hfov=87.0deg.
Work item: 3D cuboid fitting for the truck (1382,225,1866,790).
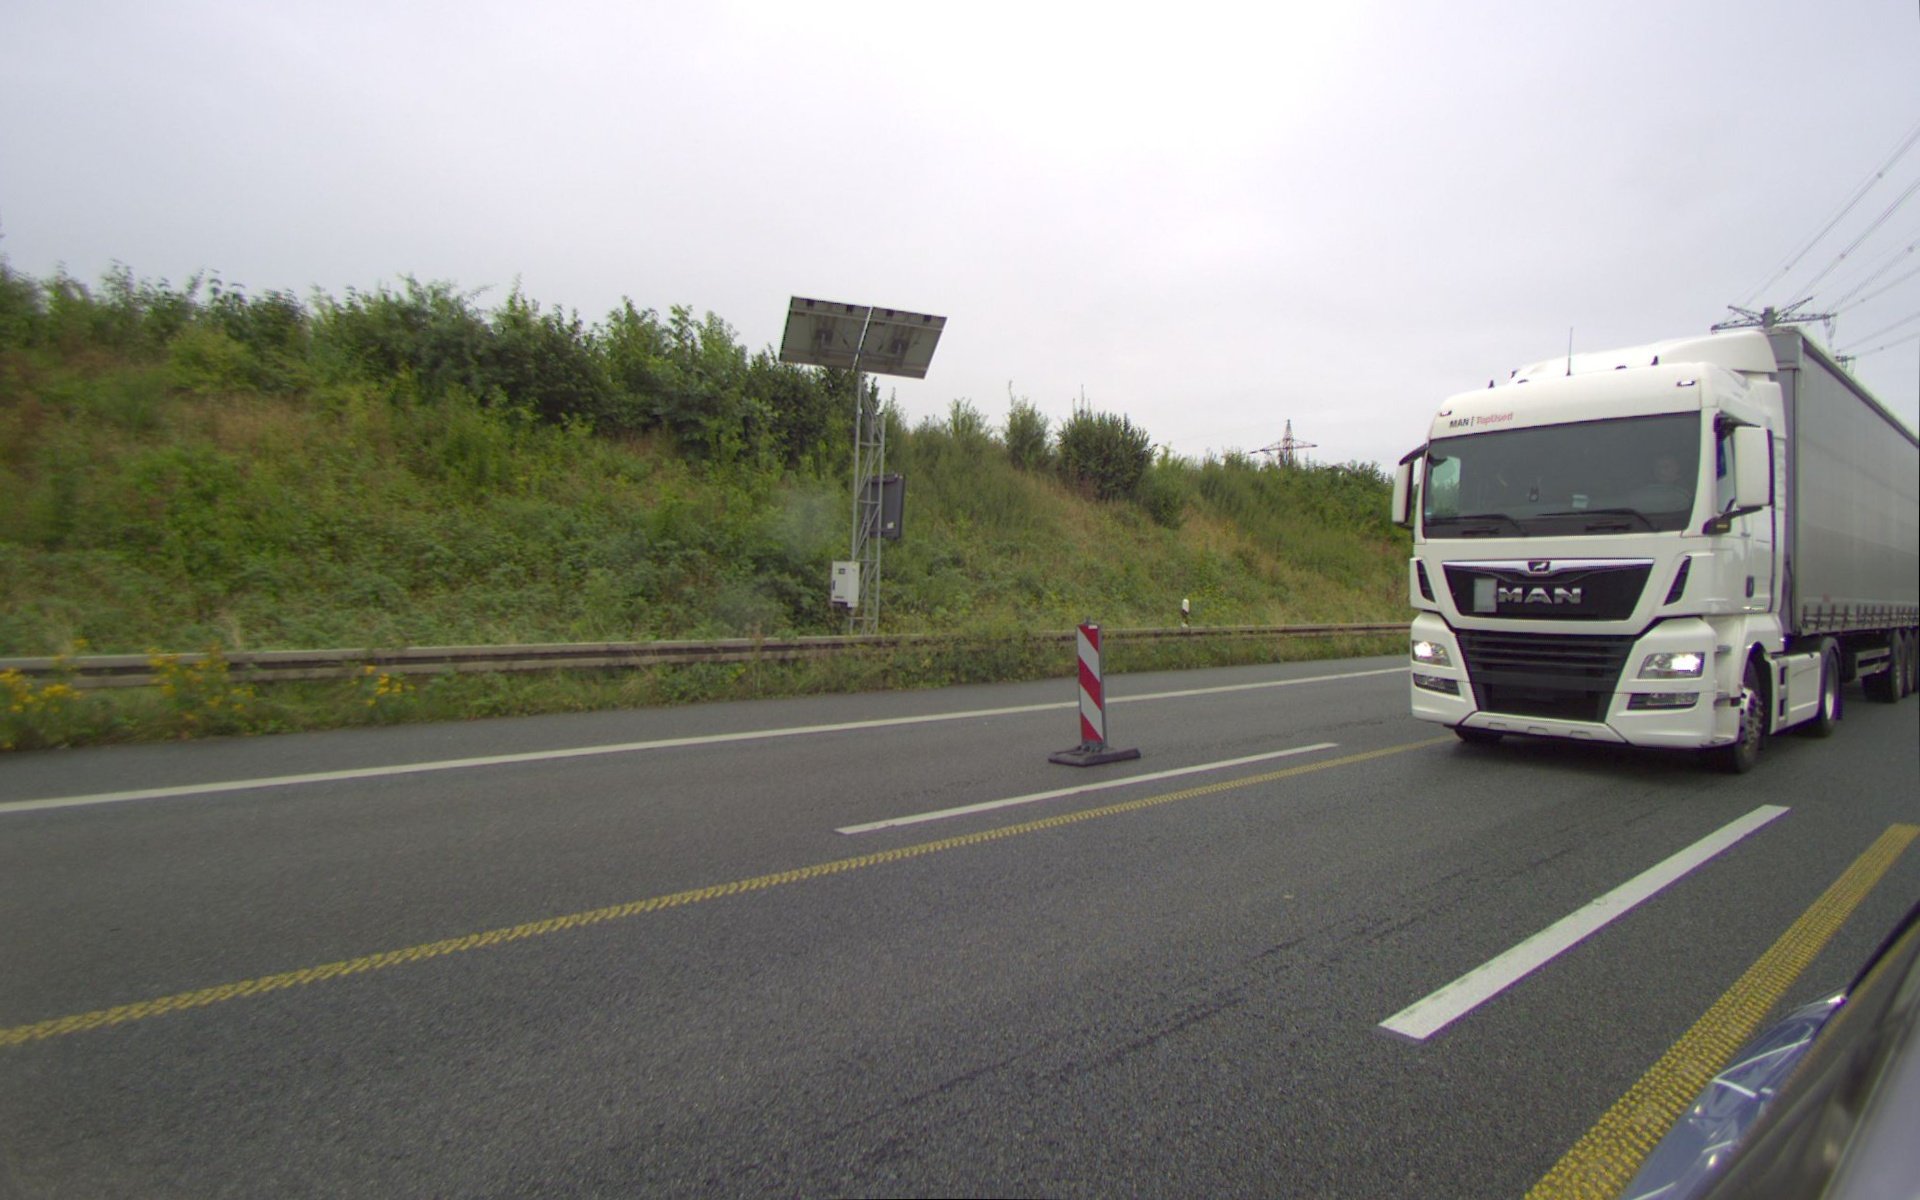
[{"bbox_3d":[6.997,-0.716,10.378,5.591,4.190,2.711,0,1,-41],"label":"truck"}]

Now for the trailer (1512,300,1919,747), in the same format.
[{"bbox_3d":[12.302,-0.753,14.974,13.491,4.198,2.711,0,1,-41],"label":"trailer"}]
